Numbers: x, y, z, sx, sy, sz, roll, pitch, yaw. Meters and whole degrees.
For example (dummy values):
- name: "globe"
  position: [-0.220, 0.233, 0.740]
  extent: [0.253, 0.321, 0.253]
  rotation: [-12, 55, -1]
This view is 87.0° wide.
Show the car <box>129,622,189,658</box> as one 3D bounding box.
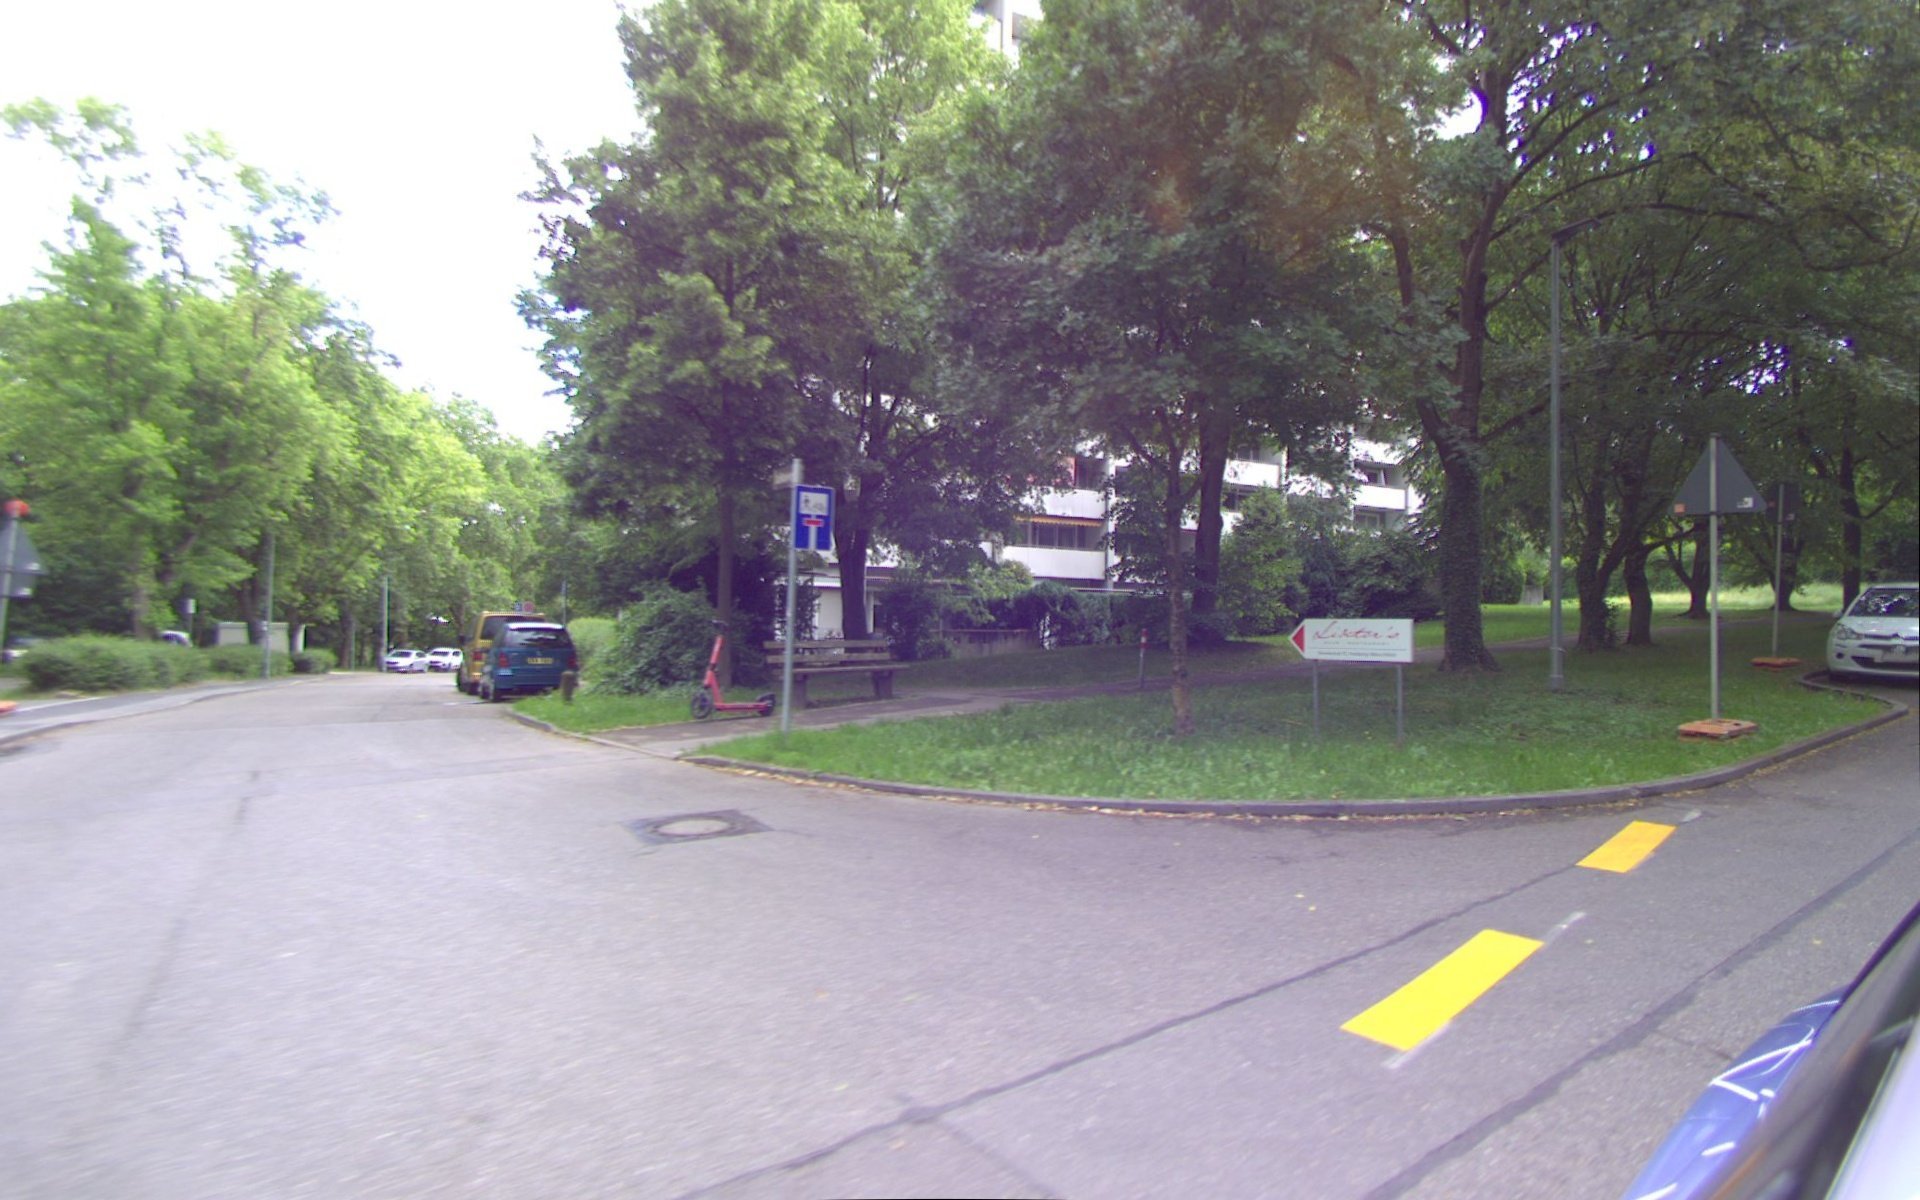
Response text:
- name: "car"
  position: [-37.985, 1.851, 48.060]
  extent: [1.765, 1.517, 4.221]
  rotation: [-1, 1, -32]

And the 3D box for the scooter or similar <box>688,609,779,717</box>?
- name: "scooter or similar"
  position: [-2.861, 0.772, 12.842]
  extent: [1.087, 1.303, 0.283]
  rotation: [-1, -1, -36]

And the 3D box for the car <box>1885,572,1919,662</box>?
- name: "car"
  position: [18.387, 0.254, 18.212]
  extent: [4.105, 1.542, 1.779]
  rotation: [-1, 0, -36]

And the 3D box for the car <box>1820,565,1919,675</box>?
- name: "car"
  position: [14.748, 0.240, 15.415]
  extent: [3.712, 1.542, 1.778]
  rotation: [-1, 0, -38]

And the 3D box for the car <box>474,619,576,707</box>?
- name: "car"
  position: [-9.026, 1.216, 20.920]
  extent: [1.794, 1.590, 3.534]
  rotation: [-1, 0, -25]

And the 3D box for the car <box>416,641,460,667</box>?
- name: "car"
  position: [-35.998, 3.707, 69.871]
  extent: [1.617, 1.505, 3.683]
  rotation: [-1, 0, -9]

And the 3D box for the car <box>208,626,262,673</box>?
- name: "car"
  position: [-35.443, 2.379, 49.564]
  extent: [1.961, 2.039, 4.001]
  rotation: [-1, 0, -33]

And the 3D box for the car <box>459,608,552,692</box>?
- name: "car"
  position: [-11.443, 1.156, 25.308]
  extent: [1.795, 1.872, 4.415]
  rotation: [-1, 0, -29]

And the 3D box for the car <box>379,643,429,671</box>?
- name: "car"
  position: [-35.116, 3.576, 63.982]
  extent: [1.617, 1.505, 3.683]
  rotation: [-1, 0, -9]
